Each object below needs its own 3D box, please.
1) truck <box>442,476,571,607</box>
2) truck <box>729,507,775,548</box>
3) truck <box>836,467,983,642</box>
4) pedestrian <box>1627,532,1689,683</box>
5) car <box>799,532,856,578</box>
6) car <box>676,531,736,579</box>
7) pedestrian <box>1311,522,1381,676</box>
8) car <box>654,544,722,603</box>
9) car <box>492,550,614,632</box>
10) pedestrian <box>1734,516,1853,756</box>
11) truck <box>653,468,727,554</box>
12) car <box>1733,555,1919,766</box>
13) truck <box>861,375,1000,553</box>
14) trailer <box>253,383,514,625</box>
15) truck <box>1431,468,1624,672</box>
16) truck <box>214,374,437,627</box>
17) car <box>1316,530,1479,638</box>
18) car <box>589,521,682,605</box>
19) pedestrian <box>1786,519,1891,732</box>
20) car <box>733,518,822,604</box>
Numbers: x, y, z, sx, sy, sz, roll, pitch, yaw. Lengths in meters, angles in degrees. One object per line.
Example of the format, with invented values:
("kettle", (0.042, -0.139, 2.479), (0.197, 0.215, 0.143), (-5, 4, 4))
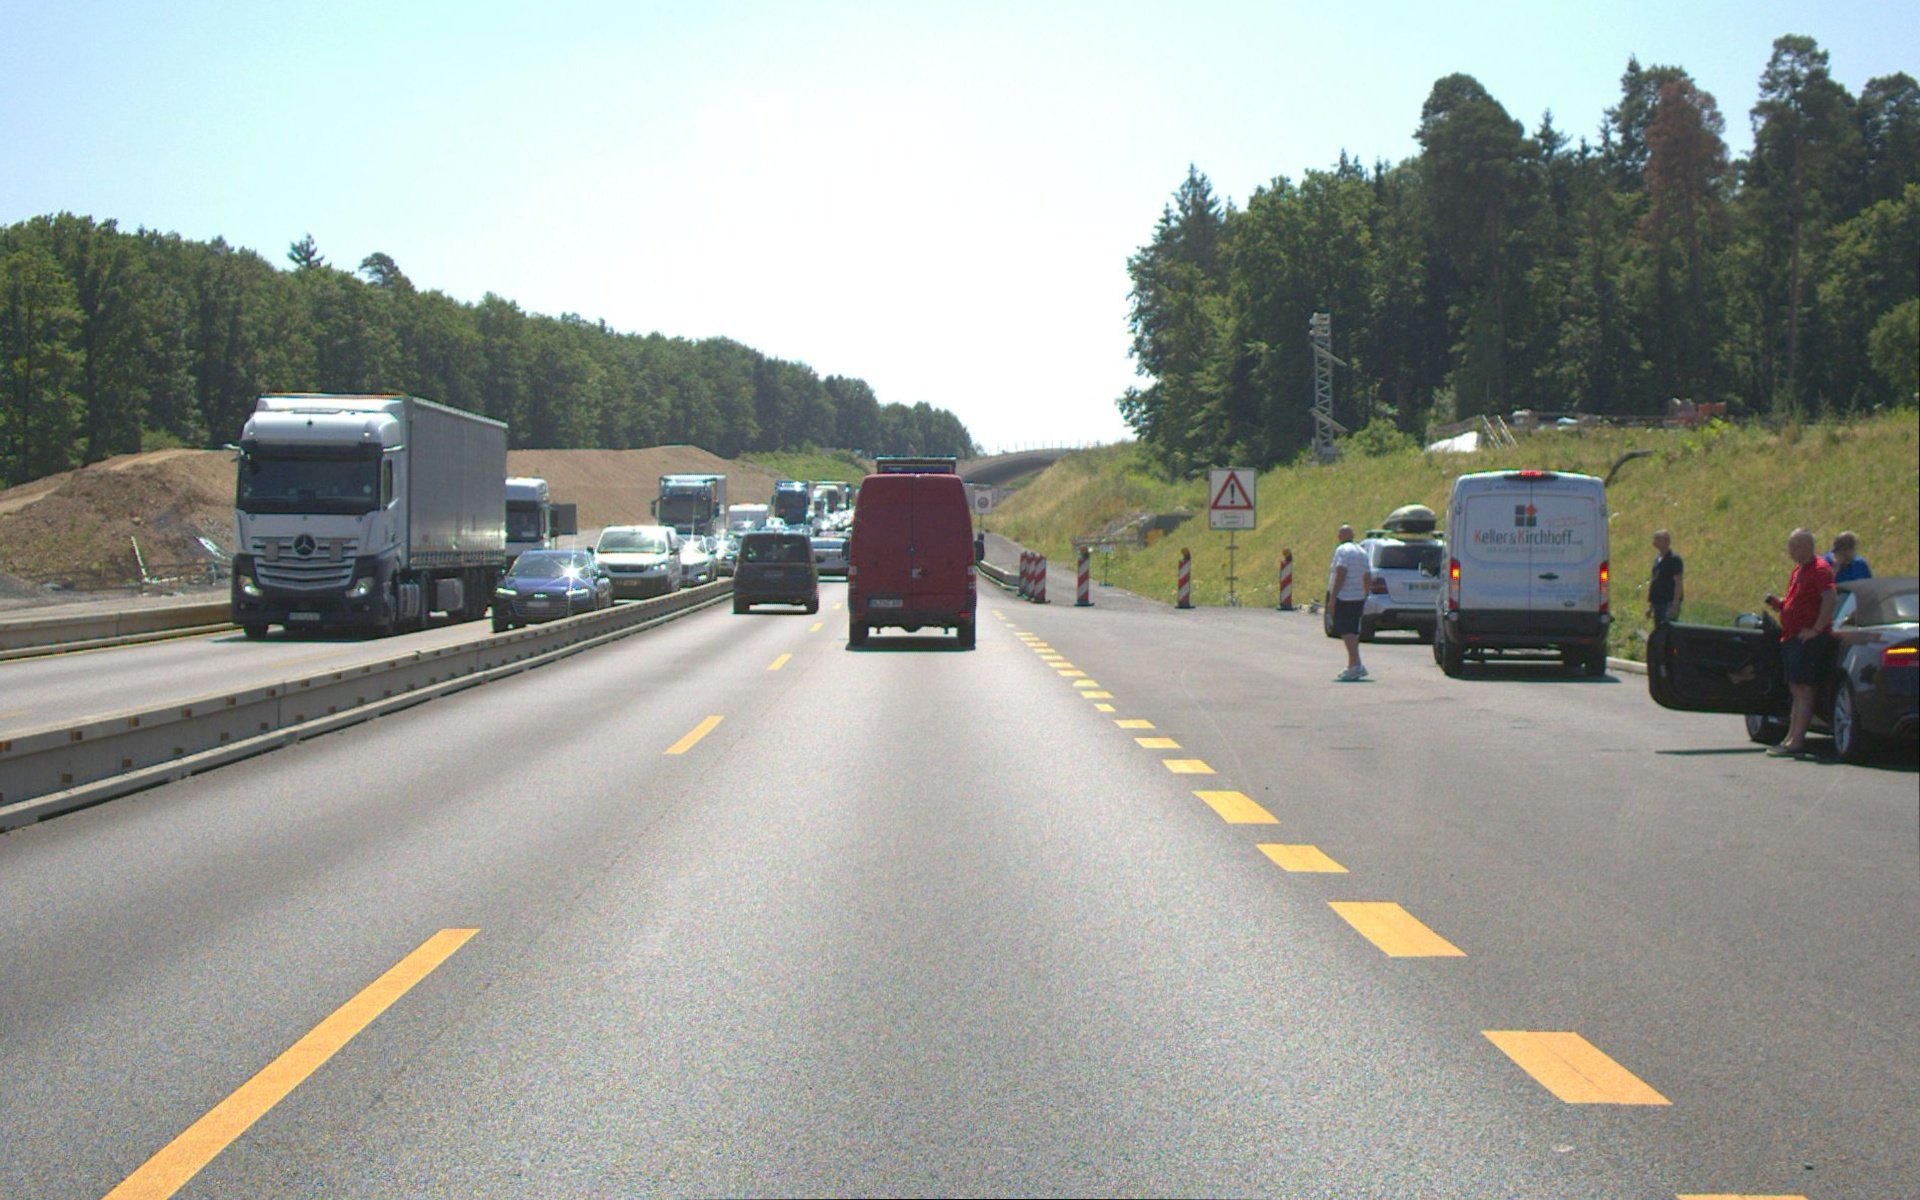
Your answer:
("truck", (-10.942, -1.369, 83.279), (2.398, 3.048, 5.062), (1, 0, 0))
("truck", (-12.648, -4.404, 209.242), (2.400, 2.350, 5.227), (1, 0, 0))
("truck", (-0.819, -0.684, 54.145), (2.153, 2.581, 5.333), (1, 0, -1))
("pedestrian", (8.329, 0.088, 41.039), (0.563, 1.789, 0.667), (1, 0, -2))
("car", (-4.558, -1.524, 118.377), (1.831, 1.517, 3.961), (1, 0, -1))
("car", (-8.614, -1.517, 116.717), (1.625, 1.552, 4.068), (1, 0, 1))
("pedestrian", (4.637, -0.013, 41.366), (0.723, 1.822, 0.720), (1, 0, -1))
("car", (-7.795, -0.754, 98.756), (1.724, 1.625, 4.391), (1, 0, -2))
("car", (-7.214, -0.149, 61.223), (1.726, 1.382, 4.484), (1, 0, -1))
("pedestrian", (6.420, 0.271, 26.489), (0.640, 1.822, 0.559), (1, 1, -21))
("truck", (-12.072, -3.930, 154.393), (2.509, 3.605, 9.641), (1, 0, 0))
("car", (7.395, 0.402, 26.847), (1.654, 1.422, 4.545), (-2, 1, 0))
("truck", (-1.039, -4.520, 119.727), (4.400, 5.477, 16.603), (1, 0, -1))
("trailer", (-10.654, -1.755, 65.093), (2.790, 4.061, 13.712), (1, 1, -1))
("truck", (7.311, -0.429, 44.844), (2.130, 2.448, 5.924), (1, 1, 6))
("truck", (-10.561, -1.599, 57.672), (2.768, 4.030, 4.943), (1, 0, 0))
("car", (7.385, -0.308, 58.441), (1.774, 1.671, 4.856), (1, 2, -4))
("car", (-7.781, -0.864, 82.743), (1.825, 1.920, 5.264), (1, 0, -1))
("pedestrian", (7.643, 0.217, 29.916), (0.624, 1.822, 0.643), (1, 1, -12))
("car", (-4.037, -0.879, 76.609), (1.751, 1.818, 4.783), (1, 1, -1))
